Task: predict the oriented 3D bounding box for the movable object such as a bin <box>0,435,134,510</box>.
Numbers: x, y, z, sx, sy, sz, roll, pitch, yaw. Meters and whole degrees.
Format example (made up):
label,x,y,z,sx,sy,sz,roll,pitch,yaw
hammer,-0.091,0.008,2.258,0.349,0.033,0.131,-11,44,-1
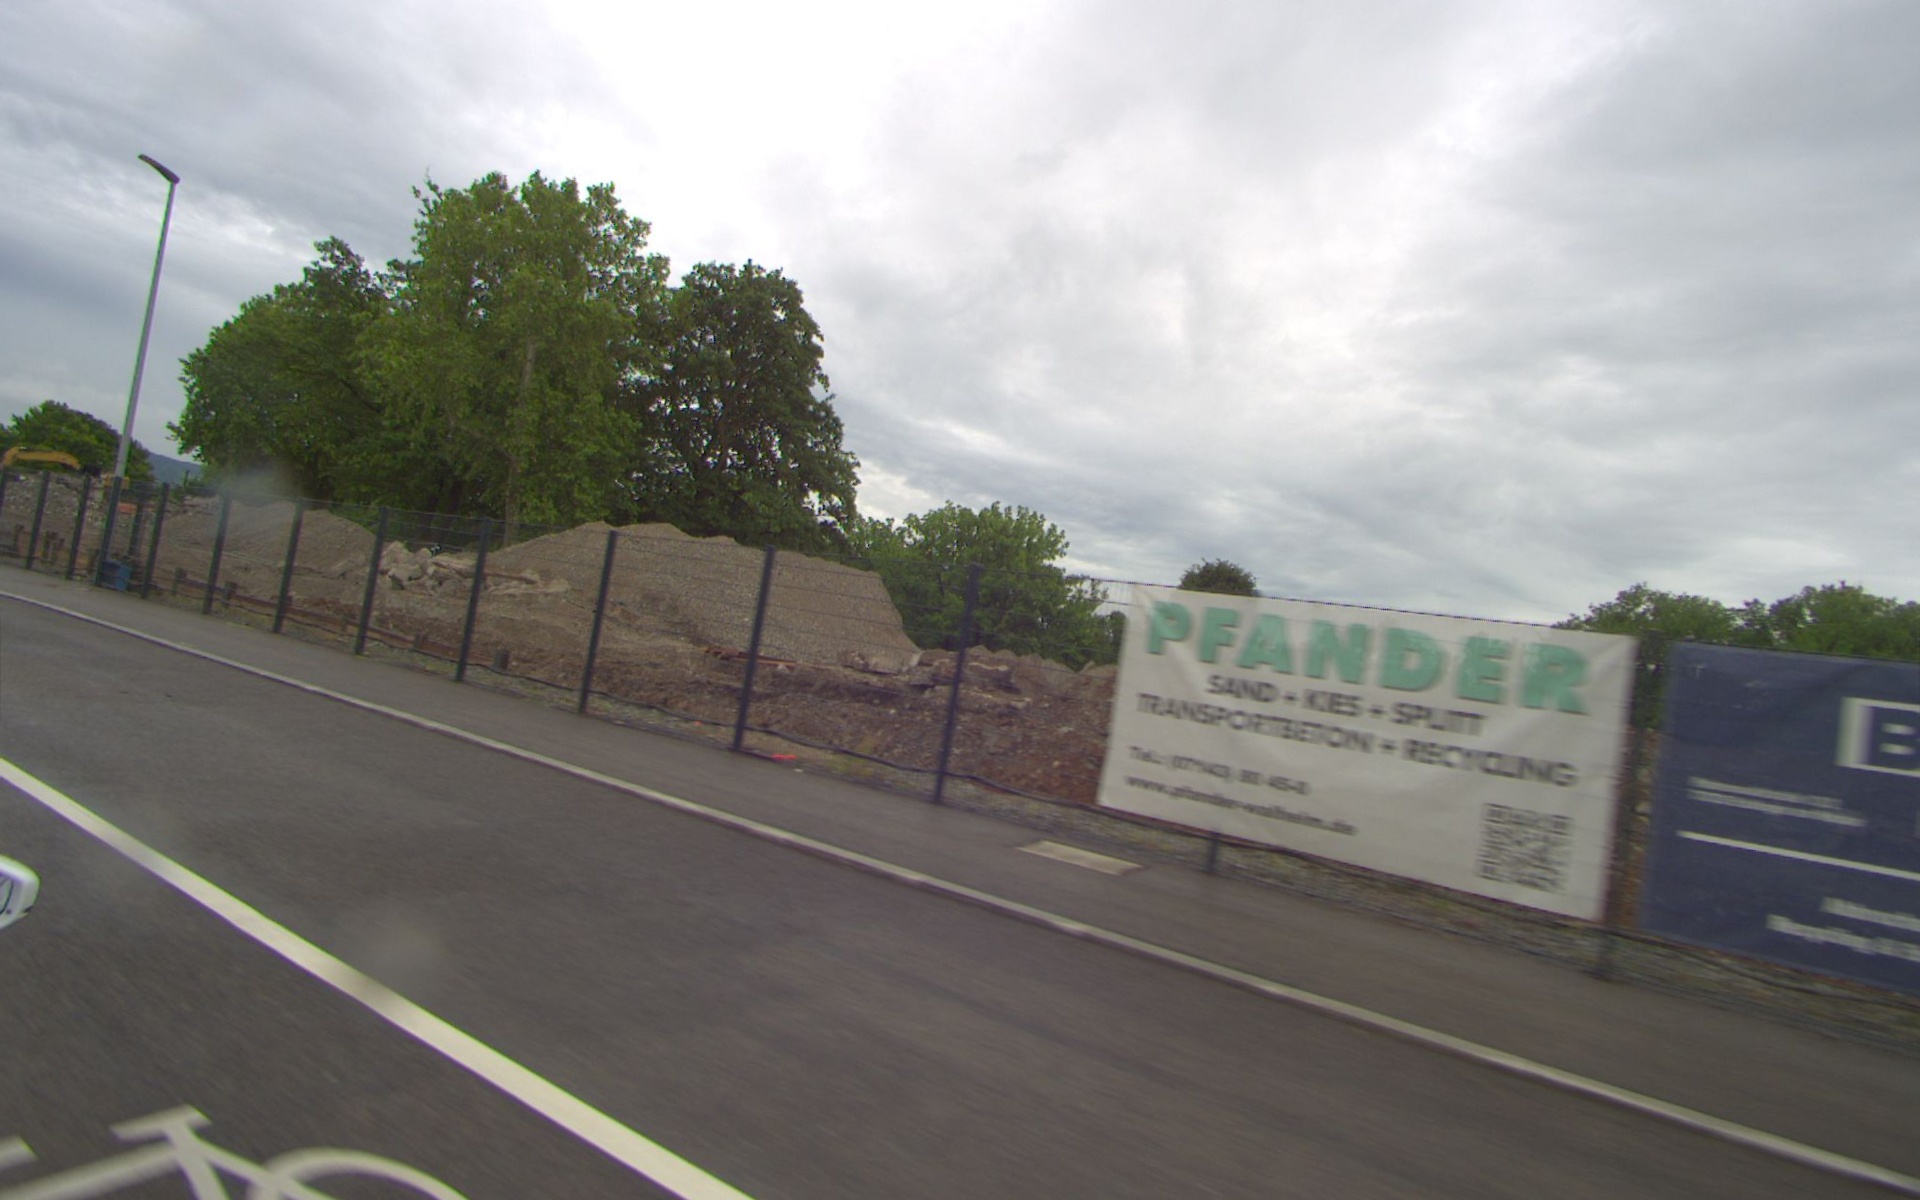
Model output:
label,x,y,z,sx,sy,sz,roll,pitch,yaw
movable object such as a bin,-100.935,-14.181,113.322,3.440,6.063,11.232,6,-2,39
